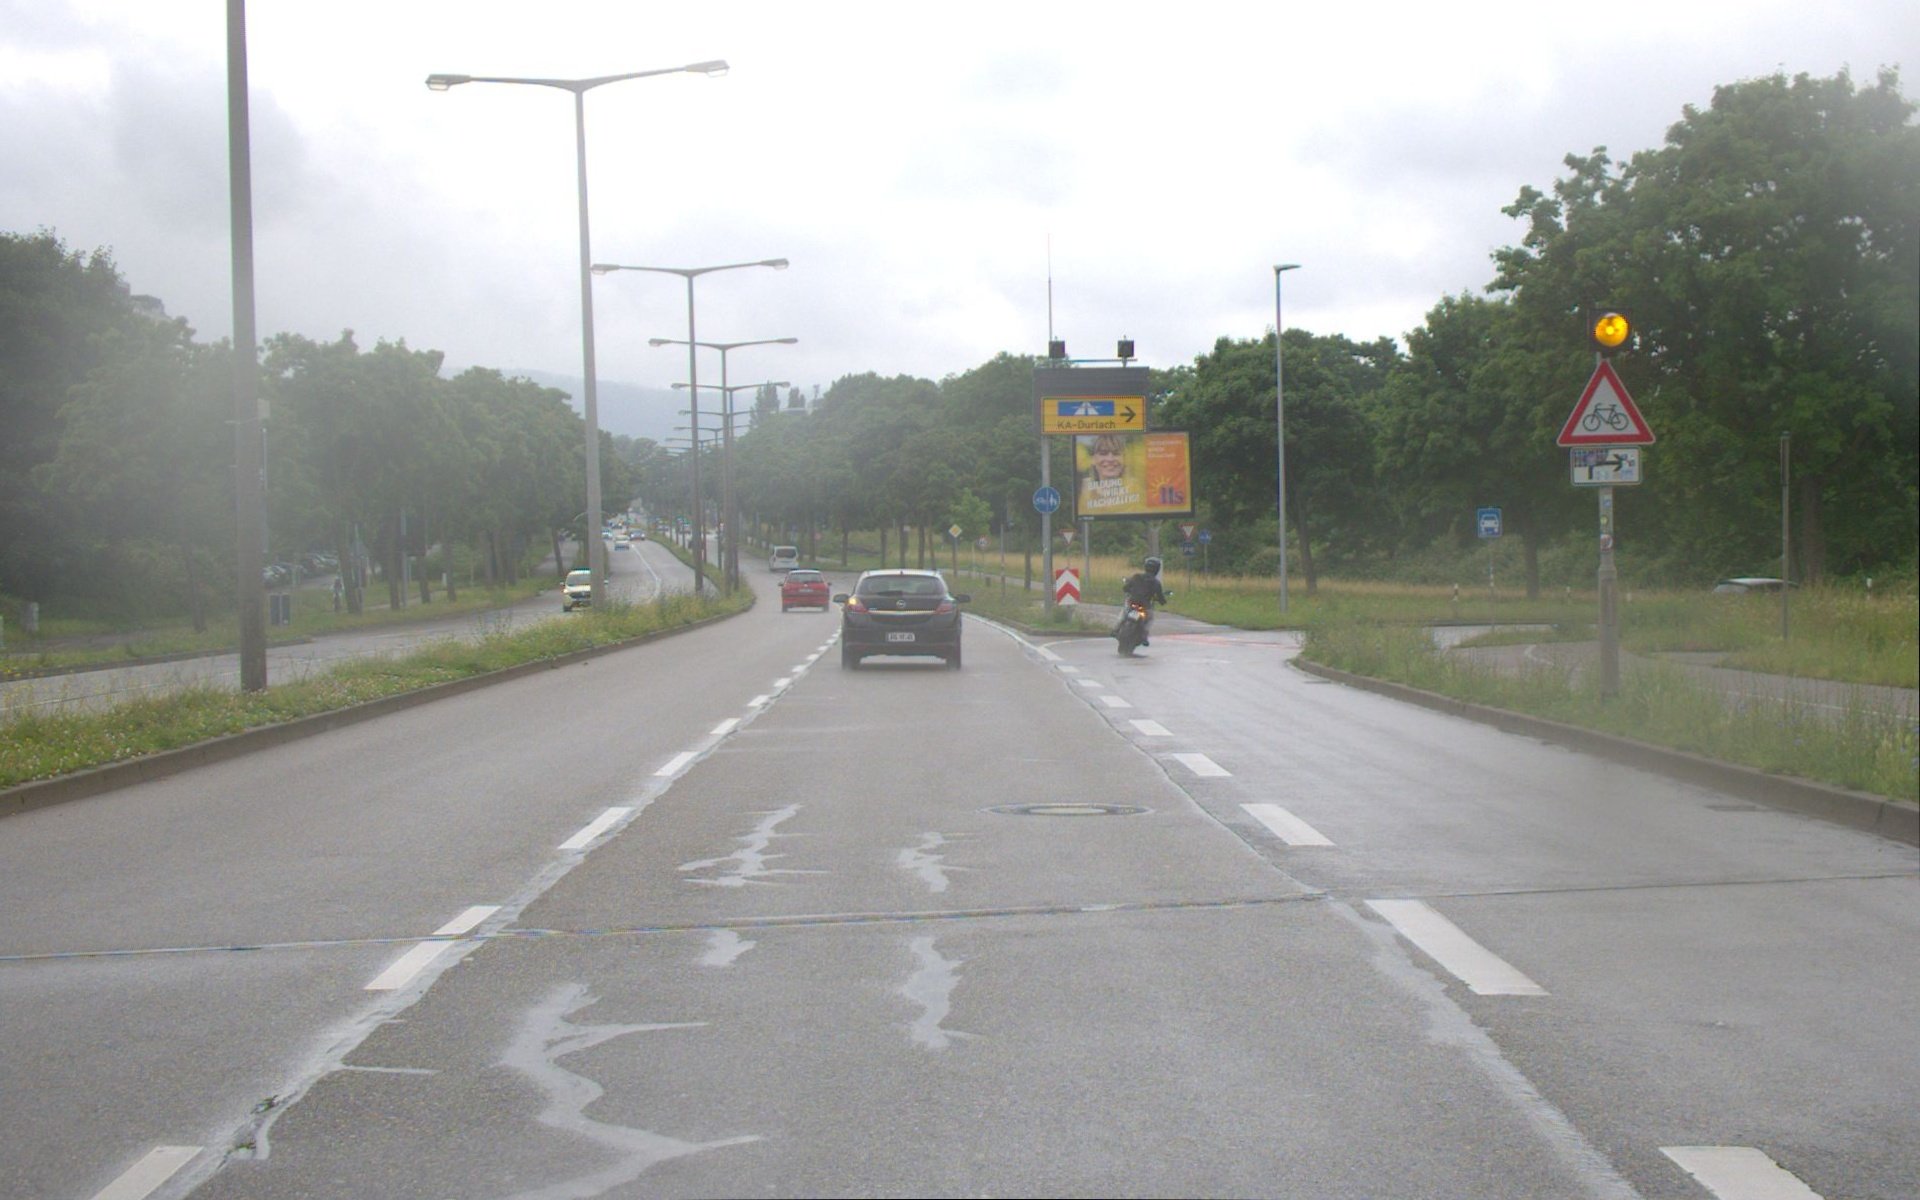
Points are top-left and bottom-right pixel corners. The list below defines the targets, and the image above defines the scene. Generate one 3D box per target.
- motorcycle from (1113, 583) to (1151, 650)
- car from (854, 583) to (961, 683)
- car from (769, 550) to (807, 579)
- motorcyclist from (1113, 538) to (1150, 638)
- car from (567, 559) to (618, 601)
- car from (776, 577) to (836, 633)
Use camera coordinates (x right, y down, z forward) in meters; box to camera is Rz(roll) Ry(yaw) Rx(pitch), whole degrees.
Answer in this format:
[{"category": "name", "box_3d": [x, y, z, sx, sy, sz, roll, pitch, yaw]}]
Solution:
[{"category": "motorcycle", "box_3d": [2.917, 0.265, 58.279, 0.601, 1.089, 1.732, 0, 1, 4]}, {"category": "car", "box_3d": [-0.779, 0.448, 49.383, 1.463, 1.324, 3.758, 0, 1, -2]}, {"category": "car", "box_3d": [-12.823, -2.634, 256.159, 2.515, 2.045, 5.294, -1, 0, -5]}, {"category": "motorcyclist", "box_3d": [2.906, -0.209, 58.251, 0.601, 1.684, 0.860, 0, 1, 4]}, {"category": "car", "box_3d": [-15.216, -0.849, 142.673, 1.707, 1.624, 4.492, -3, 1, -2]}, {"category": "car", "box_3d": [-5.267, 0.145, 117.975, 1.993, 1.873, 4.000, 0, 0, -2]}]
